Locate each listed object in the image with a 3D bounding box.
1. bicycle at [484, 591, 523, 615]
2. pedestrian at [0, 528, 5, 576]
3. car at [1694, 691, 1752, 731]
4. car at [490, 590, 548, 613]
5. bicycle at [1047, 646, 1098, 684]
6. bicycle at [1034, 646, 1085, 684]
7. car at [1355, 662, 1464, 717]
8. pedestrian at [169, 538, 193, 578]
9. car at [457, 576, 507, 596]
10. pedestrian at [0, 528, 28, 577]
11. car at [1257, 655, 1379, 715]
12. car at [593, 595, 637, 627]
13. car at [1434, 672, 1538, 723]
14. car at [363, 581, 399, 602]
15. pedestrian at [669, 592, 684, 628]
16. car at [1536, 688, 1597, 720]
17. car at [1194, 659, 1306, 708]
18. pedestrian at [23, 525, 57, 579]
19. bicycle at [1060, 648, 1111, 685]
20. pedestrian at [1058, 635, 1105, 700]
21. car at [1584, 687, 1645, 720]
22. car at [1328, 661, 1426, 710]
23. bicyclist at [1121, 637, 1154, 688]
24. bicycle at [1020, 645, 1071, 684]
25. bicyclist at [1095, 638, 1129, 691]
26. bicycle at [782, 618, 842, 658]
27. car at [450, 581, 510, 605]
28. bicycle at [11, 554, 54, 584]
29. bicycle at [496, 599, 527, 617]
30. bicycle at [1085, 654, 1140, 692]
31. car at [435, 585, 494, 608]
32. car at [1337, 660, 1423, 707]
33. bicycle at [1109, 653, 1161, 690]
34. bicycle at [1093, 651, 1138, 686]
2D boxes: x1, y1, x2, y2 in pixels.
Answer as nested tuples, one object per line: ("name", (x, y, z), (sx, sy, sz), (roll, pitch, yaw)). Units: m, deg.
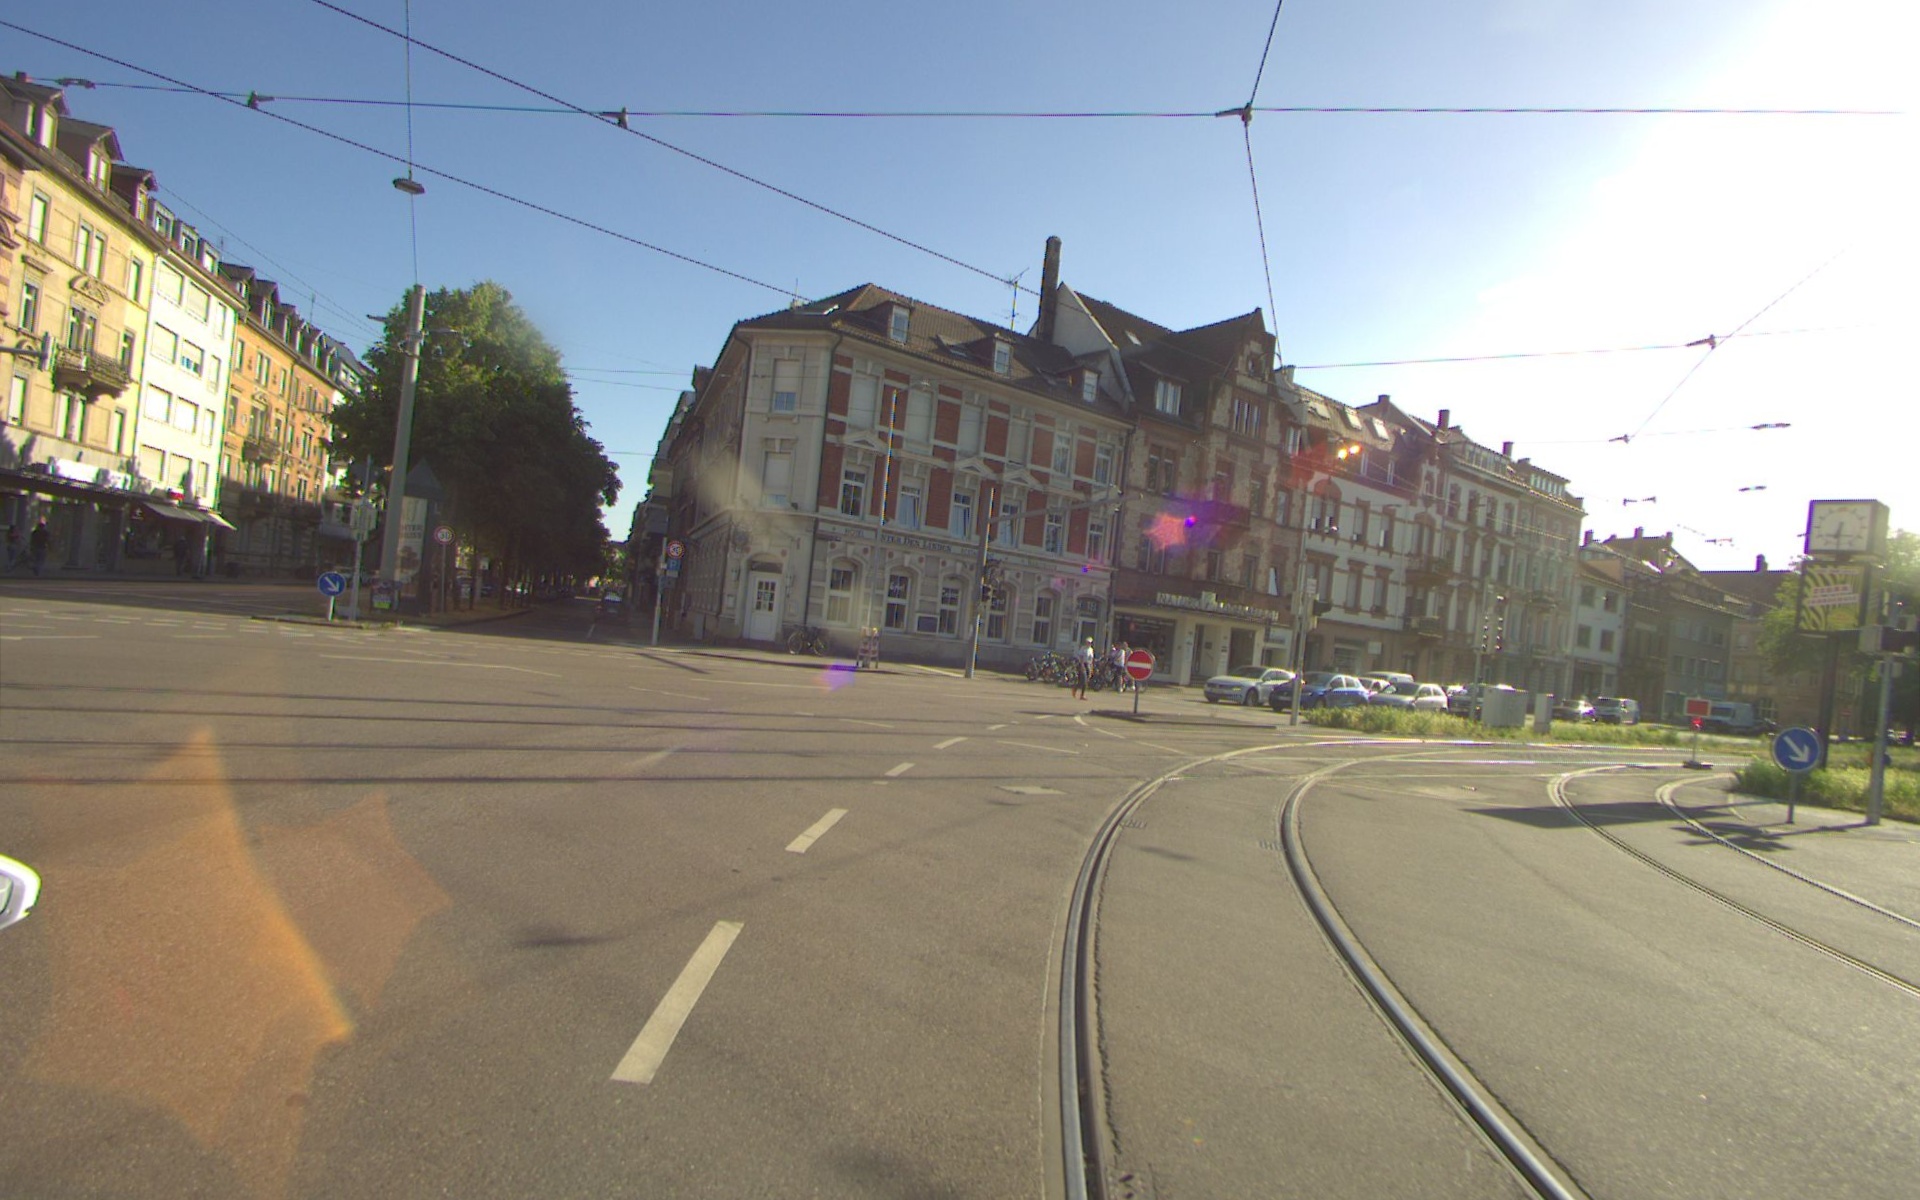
("bicycle", (-23.890, 0.166, 52.659), (1.913, 1.080, 0.584), (5, -1, 17))
("pedestrian", (-33.613, -1.680, 34.848), (0.545, 1.662, 0.534), (5, 0, -26))
("car", (62.320, 9.084, 82.117), (5.907, 2.944, 2.181), (6, -1, -38))
("car", (-37.138, 0.144, 84.787), (3.928, 1.564, 1.999), (5, -1, -6))
("bicycle", (4.134, 2.399, 37.164), (0.673, 1.205, 1.949), (5, -1, -35))
("bicycle", (3.618, 2.362, 36.774), (0.673, 1.205, 1.949), (5, -1, -35))
("car", (16.580, 3.317, 37.063), (3.965, 1.688, 1.936), (6, -2, -37))
("pedestrian", (-39.331, -2.095, 50.801), (0.674, 1.932, 0.630), (5, 0, -21))
("car", (-47.127, -1.388, 99.217), (3.930, 1.564, 1.998), (5, -1, -9))
("pedestrian", (-33.506, -1.665, 35.578), (0.545, 1.662, 0.629), (5, 0, -25))
("car", (12.109, 2.888, 33.951), (3.965, 1.688, 1.936), (6, -2, -37))
("car", (-19.166, 0.601, 55.803), (1.972, 1.515, 4.015), (6, -2, -22))
("car", (21.232, 3.953, 40.560), (4.448, 1.688, 1.936), (6, -2, -38))
("car", (-48.177, -0.671, 83.769), (1.972, 1.515, 4.015), (6, -2, -22))
("pedestrian", (-14.160, 0.492, 50.177), (0.583, 1.656, 0.578), (5, -8, -17))
("car", (38.586, 6.628, 64.008), (3.965, 1.688, 1.936), (6, -2, -37))
("car", (10.521, 3.031, 36.361), (3.965, 1.429, 1.828), (6, -2, -37))
("pedestrian", (-33.161, -1.735, 36.268), (0.573, 1.858, 0.630), (5, 0, -21))
("bicycle", (4.671, 2.468, 37.562), (0.673, 1.205, 1.949), (5, -1, -35))
("pedestrian", (3.346, 1.858, 27.780), (0.712, 1.690, 0.929), (5, -1, -40))
("car", (44.439, 7.007, 68.283), (4.762, 1.884, 1.936), (6, -2, -38))
("car", (17.191, 3.544, 41.403), (3.965, 1.688, 1.936), (6, -2, -37))
("bicyclist", (6.544, 2.307, 37.167), (0.897, 1.785, 0.596), (5, 0, -34))
("bicycle", (3.076, 2.320, 36.333), (0.673, 1.205, 1.949), (5, -1, -35))
("bicyclist", (5.319, 2.258, 35.247), (0.867, 1.785, 0.596), (5, 0, -34))
("bicycle", (-5.161, 1.332, 35.074), (1.946, 1.205, 0.542), (6, -1, -32))
("car", (-39.089, -0.571, 81.988), (3.930, 1.564, 1.998), (5, -1, -9))
("bicycle", (-36.250, -1.205, 39.338), (0.489, 1.080, 1.763), (5, -1, -20))
("bicycle", (-30.433, 0.540, 68.214), (1.913, 1.080, 0.584), (5, -1, 17))
("bicycle", (5.343, 2.569, 35.284), (1.948, 1.205, 0.596), (6, -1, -34))
("car", (-41.587, -0.284, 84.477), (3.930, 1.564, 1.998), (5, -1, -9))
("car", (20.966, 4.174, 50.196), (4.380, 1.988, 1.936), (6, -1, -37))
("bicycle", (6.473, 2.645, 37.133), (1.947, 1.205, 0.596), (6, -1, -34))
("bicycle", (5.884, 2.604, 37.986), (0.670, 1.205, 1.957), (5, -1, 42))
